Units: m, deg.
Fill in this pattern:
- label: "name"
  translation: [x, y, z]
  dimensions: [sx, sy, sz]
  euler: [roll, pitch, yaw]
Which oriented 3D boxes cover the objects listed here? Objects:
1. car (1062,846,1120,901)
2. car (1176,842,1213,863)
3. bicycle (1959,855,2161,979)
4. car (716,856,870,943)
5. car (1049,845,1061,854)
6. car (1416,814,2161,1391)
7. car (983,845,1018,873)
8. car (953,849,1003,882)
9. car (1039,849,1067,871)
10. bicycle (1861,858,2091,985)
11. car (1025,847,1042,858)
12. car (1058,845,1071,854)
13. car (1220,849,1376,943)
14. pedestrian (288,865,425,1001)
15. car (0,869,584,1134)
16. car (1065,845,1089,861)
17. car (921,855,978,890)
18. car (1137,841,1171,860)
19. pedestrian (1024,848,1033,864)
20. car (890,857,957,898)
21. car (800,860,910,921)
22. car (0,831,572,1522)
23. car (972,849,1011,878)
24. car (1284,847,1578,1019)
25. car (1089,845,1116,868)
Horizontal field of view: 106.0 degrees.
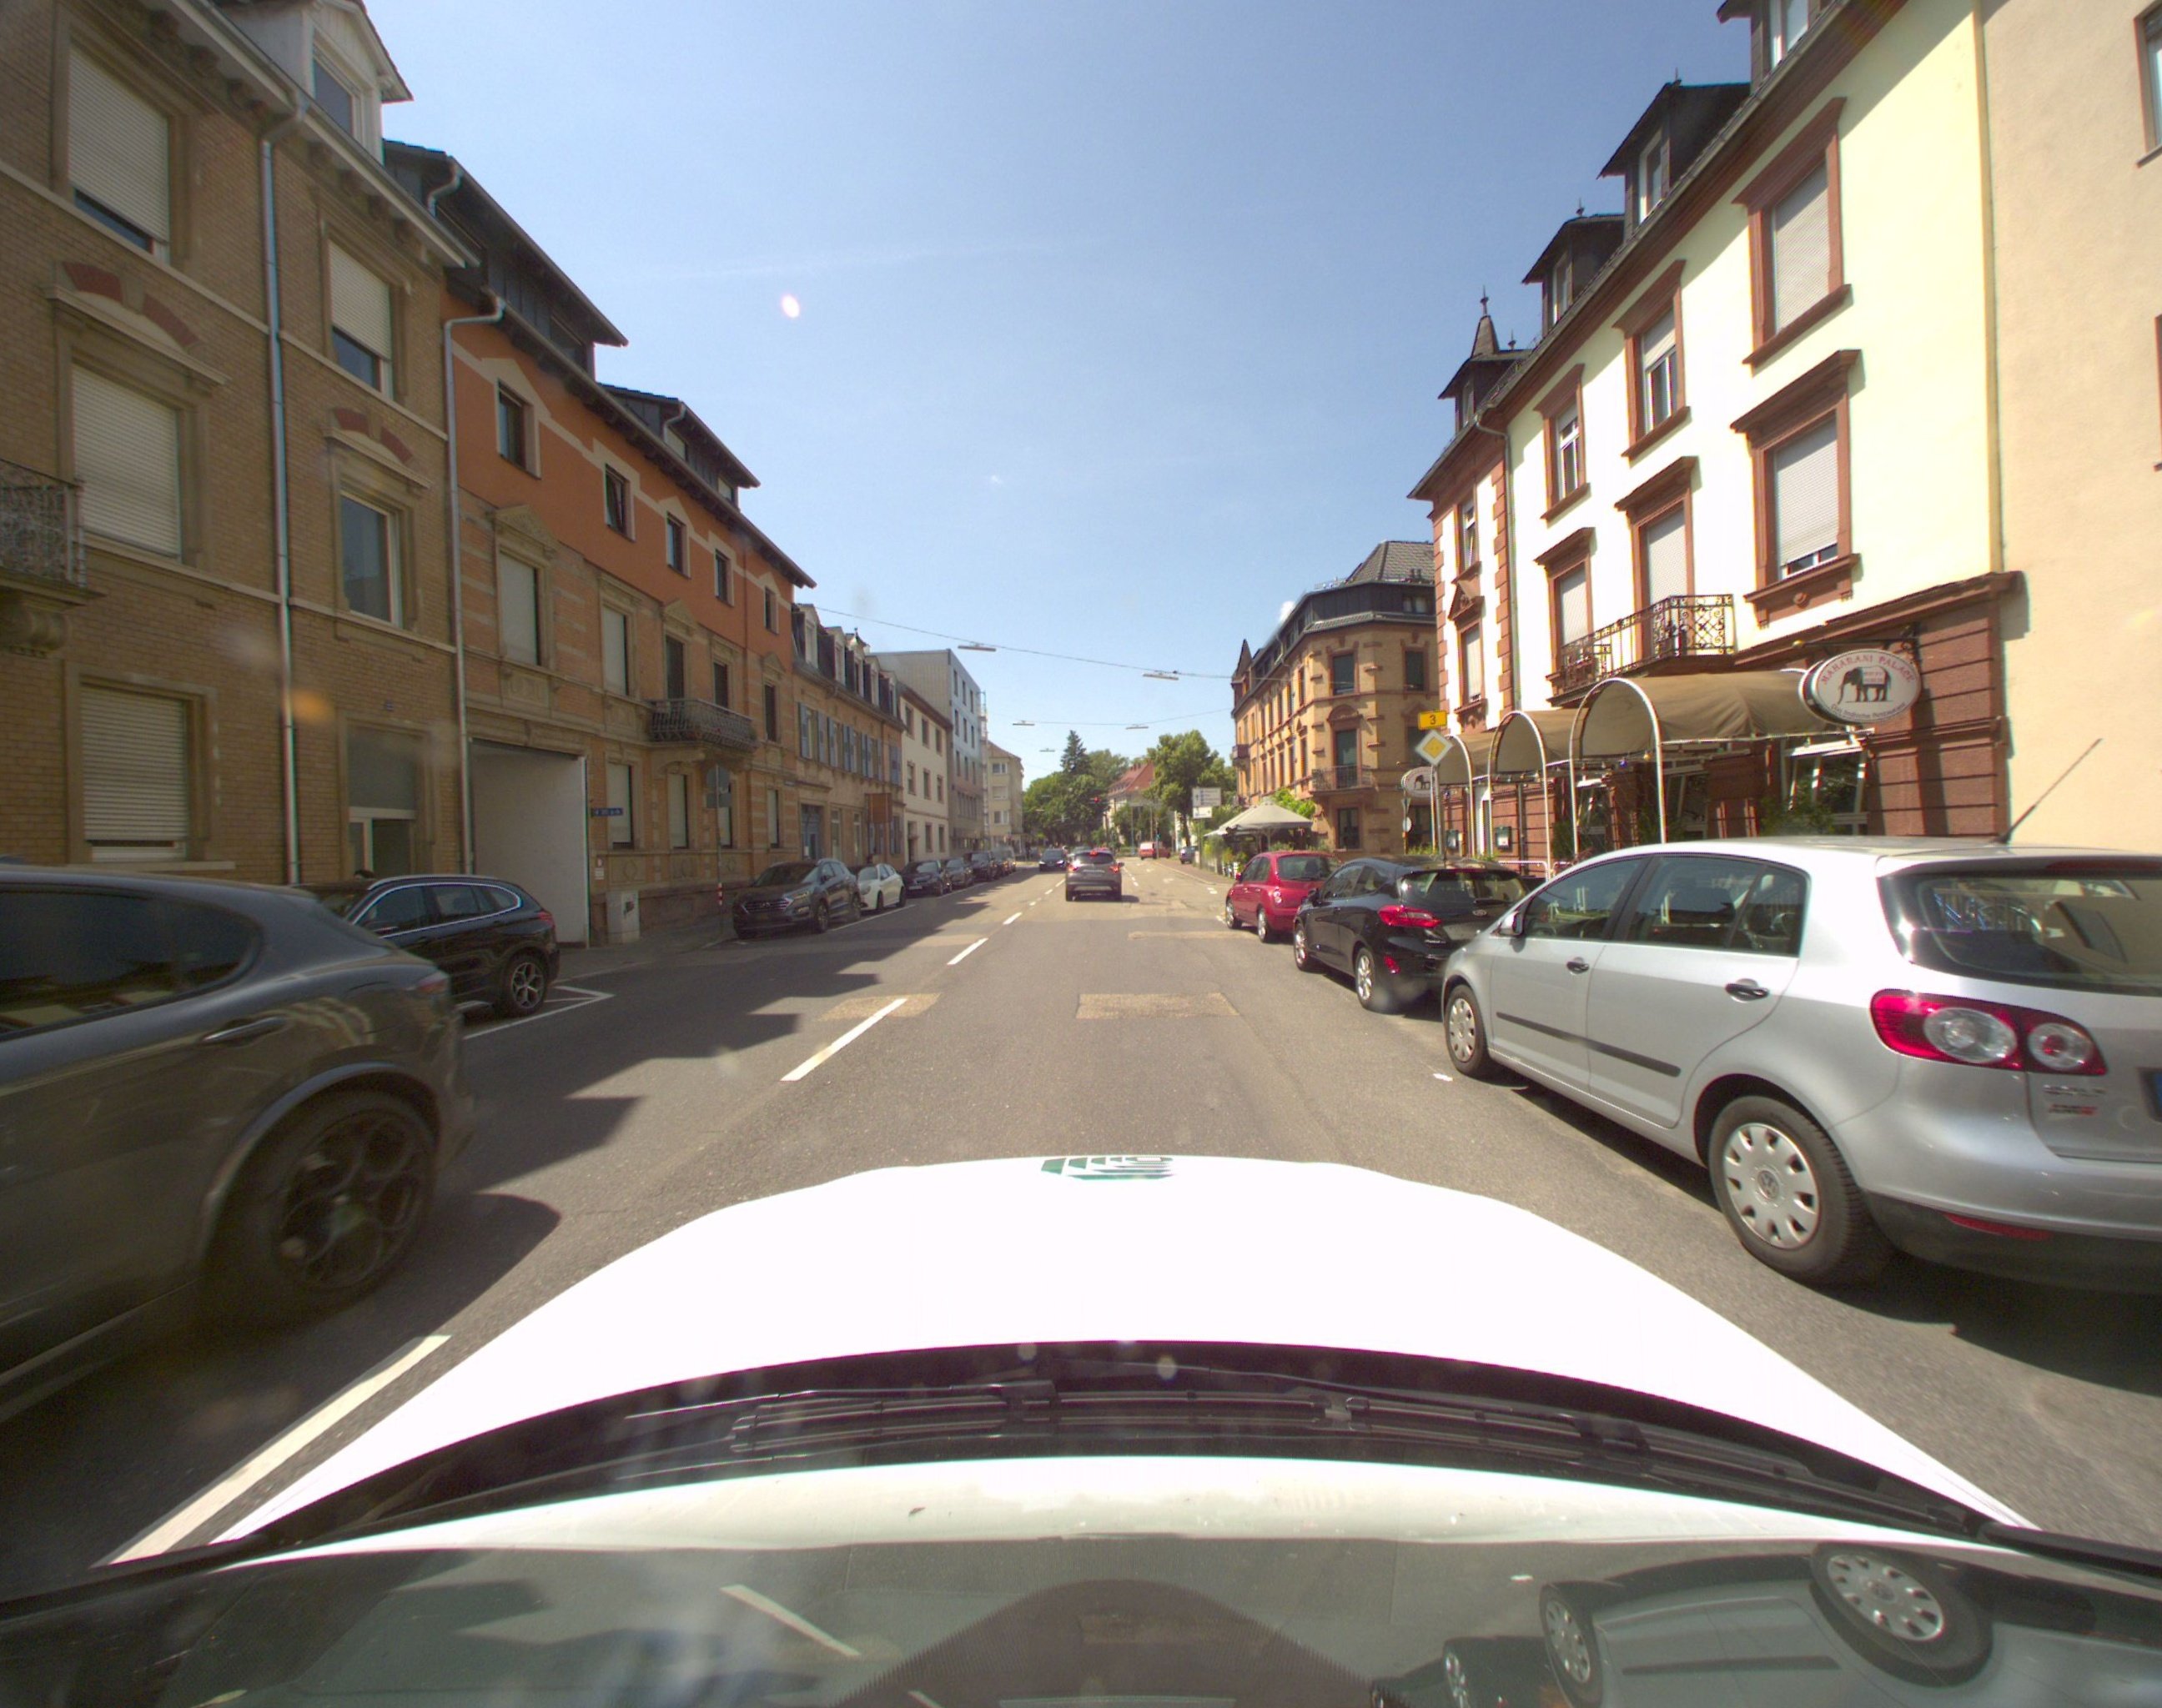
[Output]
- label: "car"
  translation: [0.383, 0.569, 26.392]
  dimensions: [1.747, 1.632, 4.003]
  euler: [0, 1, 2]
- label: "car"
  translation: [9.733, -0.169, 69.481]
  dimensions: [1.818, 1.548, 5.184]
  euler: [-2, 2, 22]
- label: "bicycle"
  translation: [9.045, 0.515, 7.292]
  dimensions: [0.549, 0.983, 1.628]
  euler: [-1, 0, -3]
- label: "car"
  translation: [-6.560, 0.953, 19.169]
  dimensions: [1.859, 1.627, 4.500]
  euler: [-5, 0, 0]
- label: "car"
  translation: [-5.603, -0.925, 174.043]
  dimensions: [1.994, 1.906, 3.985]
  euler: [-1, 1, -11]
- label: "car"
  translation: [3.363, 0.665, 4.217]
  dimensions: [1.750, 1.551, 4.069]
  euler: [1, 0, 3]
- label: "car"
  translation: [-5.620, 0.354, 57.656]
  dimensions: [1.907, 1.825, 4.788]
  euler: [-3, 0, 0]
- label: "car"
  translation: [-5.642, 0.604, 45.183]
  dimensions: [1.877, 1.641, 4.820]
  euler: [-3, 0, 2]
- label: "car"
  translation: [-1.999, 0.419, 58.768]
  dimensions: [1.754, 1.494, 4.246]
  euler: [-2, 0, 0]
- label: "bicycle"
  translation: [7.956, 0.548, 7.347]
  dimensions: [0.547, 0.983, 1.635]
  euler: [-1, 0, 13]
- label: "car"
  translation: [-7.024, -0.165, 120.475]
  dimensions: [1.995, 1.519, 3.983]
  euler: [0, 0, -12]
- label: "car"
  translation: [-3.215, -0.891, 160.823]
  dimensions: [1.994, 1.807, 3.985]
  euler: [-1, 1, -11]
- label: "car"
  translation: [3.758, 0.656, 14.763]
  dimensions: [1.752, 1.478, 3.782]
  euler: [1, 0, -1]
- label: "pedestrian"
  translation: [-8.697, 0.918, 9.810]
  dimensions: [0.798, 1.534, 0.877]
  euler: [-2, 0, 6]
- label: "car"
  translation: [-7.013, 1.041, 7.573]
  dimensions: [1.859, 1.551, 4.500]
  euler: [-5, 0, 0]
- label: "car"
  translation: [-0.370, -0.091, 87.393]
  dimensions: [1.690, 1.574, 4.326]
  euler: [-2, 0, 12]
- label: "car"
  translation: [-6.121, 0.822, 38.367]
  dimensions: [1.860, 1.406, 4.835]
  euler: [-5, 0, -1]
- label: "car"
  translation: [8.204, -0.427, 91.109]
  dimensions: [1.974, 1.977, 4.531]
  euler: [-2, 0, 32]
- label: "pedestrian"
  translation: [-6.513, 0.223, 101.623]
  dimensions: [0.935, 1.931, 0.973]
  euler: [-1, 0, -11]
- label: "car"
  translation: [-6.268, 0.894, 32.873]
  dimensions: [1.860, 1.406, 4.328]
  euler: [-5, 0, -2]
- label: "car"
  translation: [-6.553, 0.999, 24.176]
  dimensions: [1.858, 1.426, 4.332]
  euler: [-5, 0, 1]
- label: "car"
  translation: [-3.505, 0.795, 1.730]
  dimensions: [1.901, 1.610, 4.448]
  euler: [-3, 0, 1]
- label: "car"
  translation: [-5.599, 0.559, 51.358]
  dimensions: [1.879, 1.641, 4.662]
  euler: [-3, 0, 0]
- label: "car"
  translation: [3.543, 0.677, 9.083]
  dimensions: [1.750, 1.478, 3.934]
  euler: [1, 0, 3]
- label: "car"
  translation: [1.575, 0.143, 58.124]
  dimensions: [1.791, 1.557, 4.040]
  euler: [0, 0, 3]
